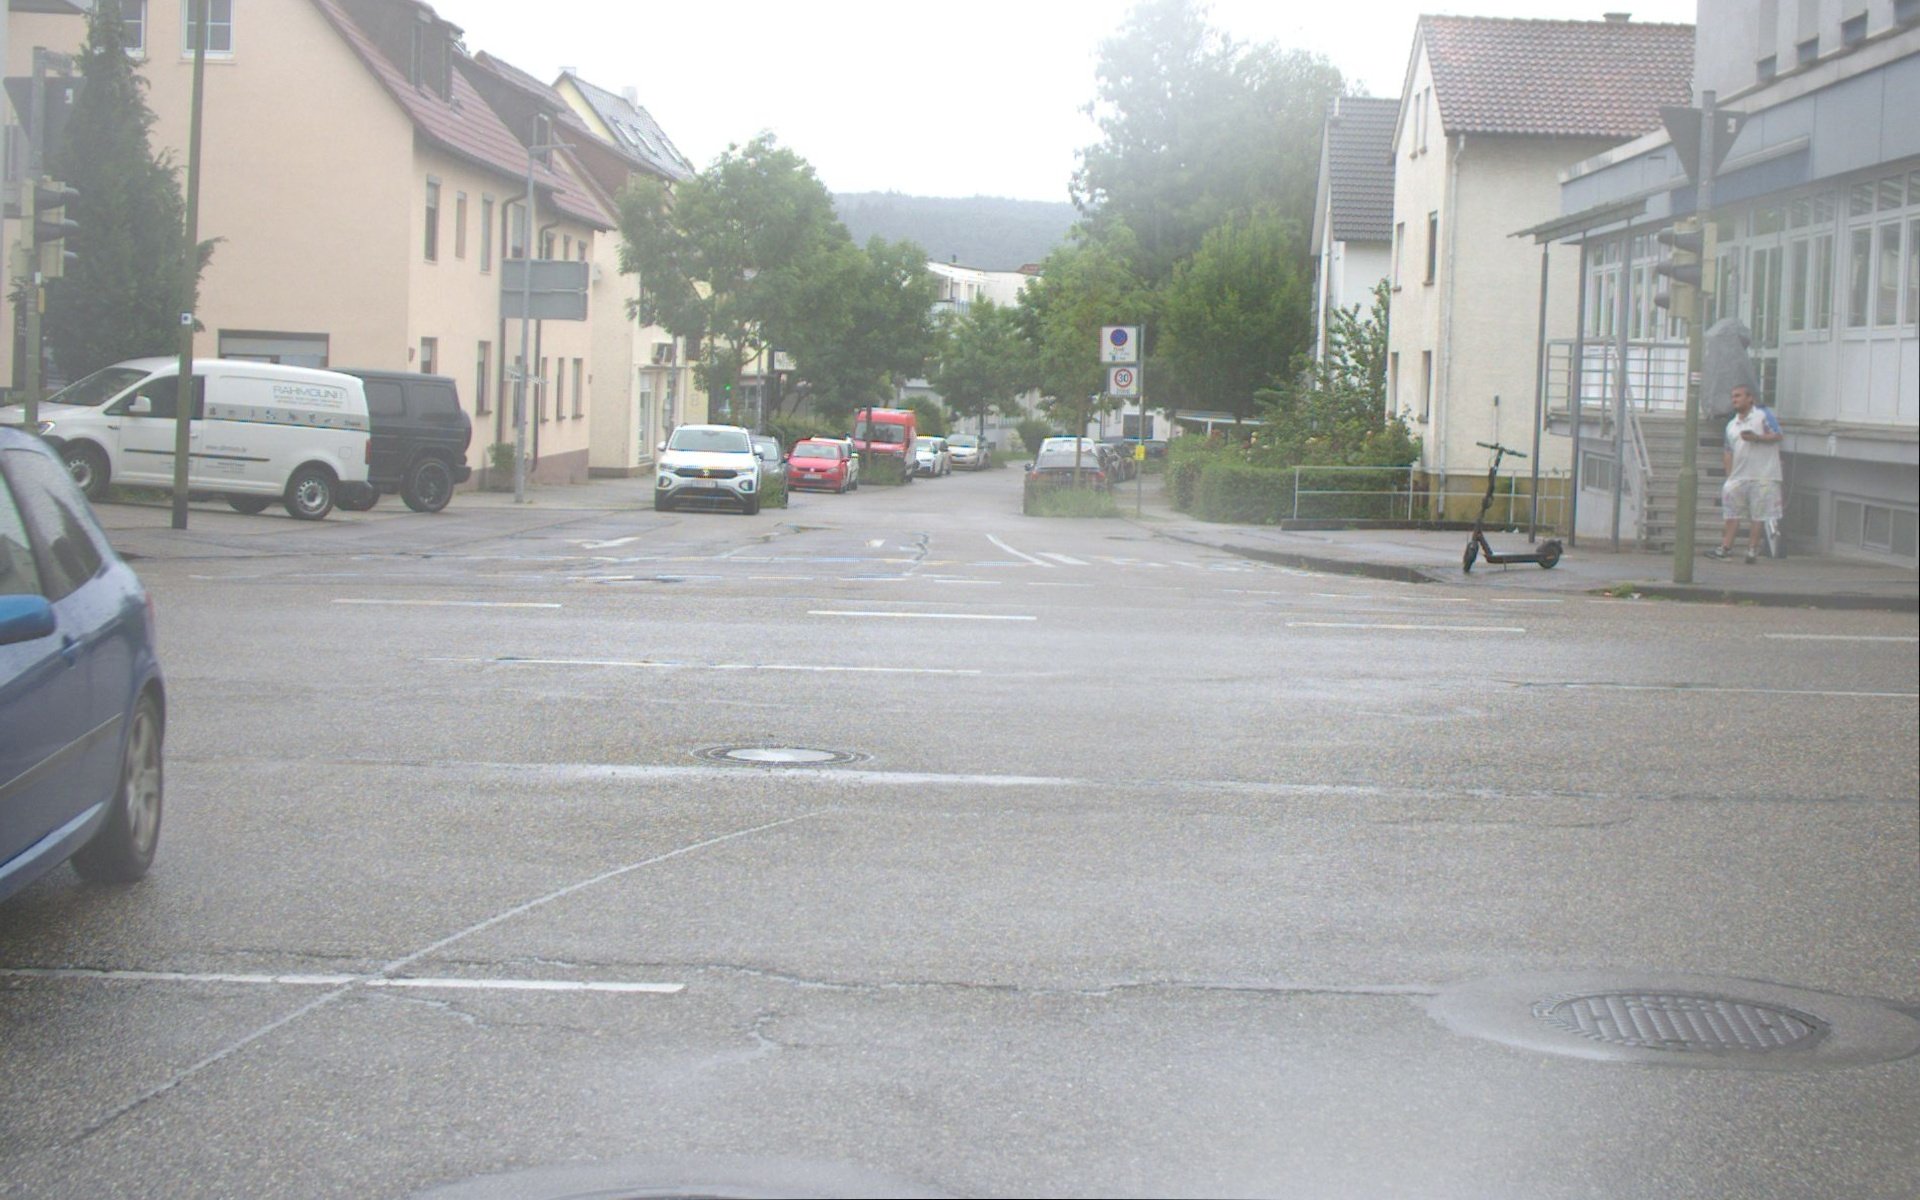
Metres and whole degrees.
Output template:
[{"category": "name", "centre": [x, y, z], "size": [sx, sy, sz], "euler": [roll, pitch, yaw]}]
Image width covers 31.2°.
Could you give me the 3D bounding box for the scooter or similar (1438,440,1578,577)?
[{"category": "scooter or similar", "centre": [5.075, -0.841, 31.857], "size": [1.058, 1.223, 0.802], "euler": [1, 0, -9]}]

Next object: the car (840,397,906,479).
[{"category": "car", "centre": [-3.026, -5.649, 120.583], "size": [2.216, 2.759, 5.725], "euler": [1, 2, -1]}]

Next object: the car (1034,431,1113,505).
[{"category": "car", "centre": [3.228, -3.719, 96.831], "size": [1.994, 2.006, 4.000], "euler": [1, 2, 5]}]

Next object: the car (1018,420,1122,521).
[{"category": "car", "centre": [2.413, -2.780, 74.542], "size": [1.994, 2.007, 3.999], "euler": [1, 0, 5]}]

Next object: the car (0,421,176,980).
[{"category": "car", "centre": [-3.375, 0.244, 9.307], "size": [1.767, 1.440, 4.000], "euler": [1, 0, -3]}]

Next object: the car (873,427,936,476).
[{"category": "car", "centre": [-2.106, -5.689, 131.967], "size": [1.994, 1.678, 3.999], "euler": [1, 0, 5]}]

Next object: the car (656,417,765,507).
[{"category": "car", "centre": [-4.411, -2.449, 61.188], "size": [1.767, 1.518, 4.001], "euler": [1, 2, -2]}]

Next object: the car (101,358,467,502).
[{"category": "car", "centre": [-9.372, -2.331, 47.843], "size": [4.608, 1.882, 1.963], "euler": [-1, 3, -39]}]

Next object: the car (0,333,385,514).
[{"category": "car", "centre": [-9.415, -2.058, 40.972], "size": [4.715, 1.772, 1.772], "euler": [3, 0, -39]}]

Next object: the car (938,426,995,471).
[{"category": "car", "centre": [0.278, -6.475, 147.326], "size": [1.994, 1.700, 3.999], "euler": [1, 0, 6]}]

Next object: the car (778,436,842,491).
[{"category": "car", "centre": [-4.276, -3.862, 97.483], "size": [1.767, 1.513, 4.001], "euler": [1, 2, -3]}]

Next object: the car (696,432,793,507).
[{"category": "car", "centre": [-4.536, -2.760, 72.867], "size": [1.767, 1.513, 4.195], "euler": [1, 2, 0]}]

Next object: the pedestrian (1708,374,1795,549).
[{"category": "pedestrian", "centre": [7.584, -1.319, 32.970], "size": [0.654, 1.646, 0.646], "euler": [1, 0, 0]}]

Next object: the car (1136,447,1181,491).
[{"category": "car", "centre": [9.483, -6.248, 164.032], "size": [1.994, 2.006, 4.000], "euler": [1, 2, 5]}]

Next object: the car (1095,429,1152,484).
[{"category": "car", "centre": [6.264, -5.465, 131.240], "size": [1.994, 2.006, 4.000], "euler": [1, 2, 5]}]
